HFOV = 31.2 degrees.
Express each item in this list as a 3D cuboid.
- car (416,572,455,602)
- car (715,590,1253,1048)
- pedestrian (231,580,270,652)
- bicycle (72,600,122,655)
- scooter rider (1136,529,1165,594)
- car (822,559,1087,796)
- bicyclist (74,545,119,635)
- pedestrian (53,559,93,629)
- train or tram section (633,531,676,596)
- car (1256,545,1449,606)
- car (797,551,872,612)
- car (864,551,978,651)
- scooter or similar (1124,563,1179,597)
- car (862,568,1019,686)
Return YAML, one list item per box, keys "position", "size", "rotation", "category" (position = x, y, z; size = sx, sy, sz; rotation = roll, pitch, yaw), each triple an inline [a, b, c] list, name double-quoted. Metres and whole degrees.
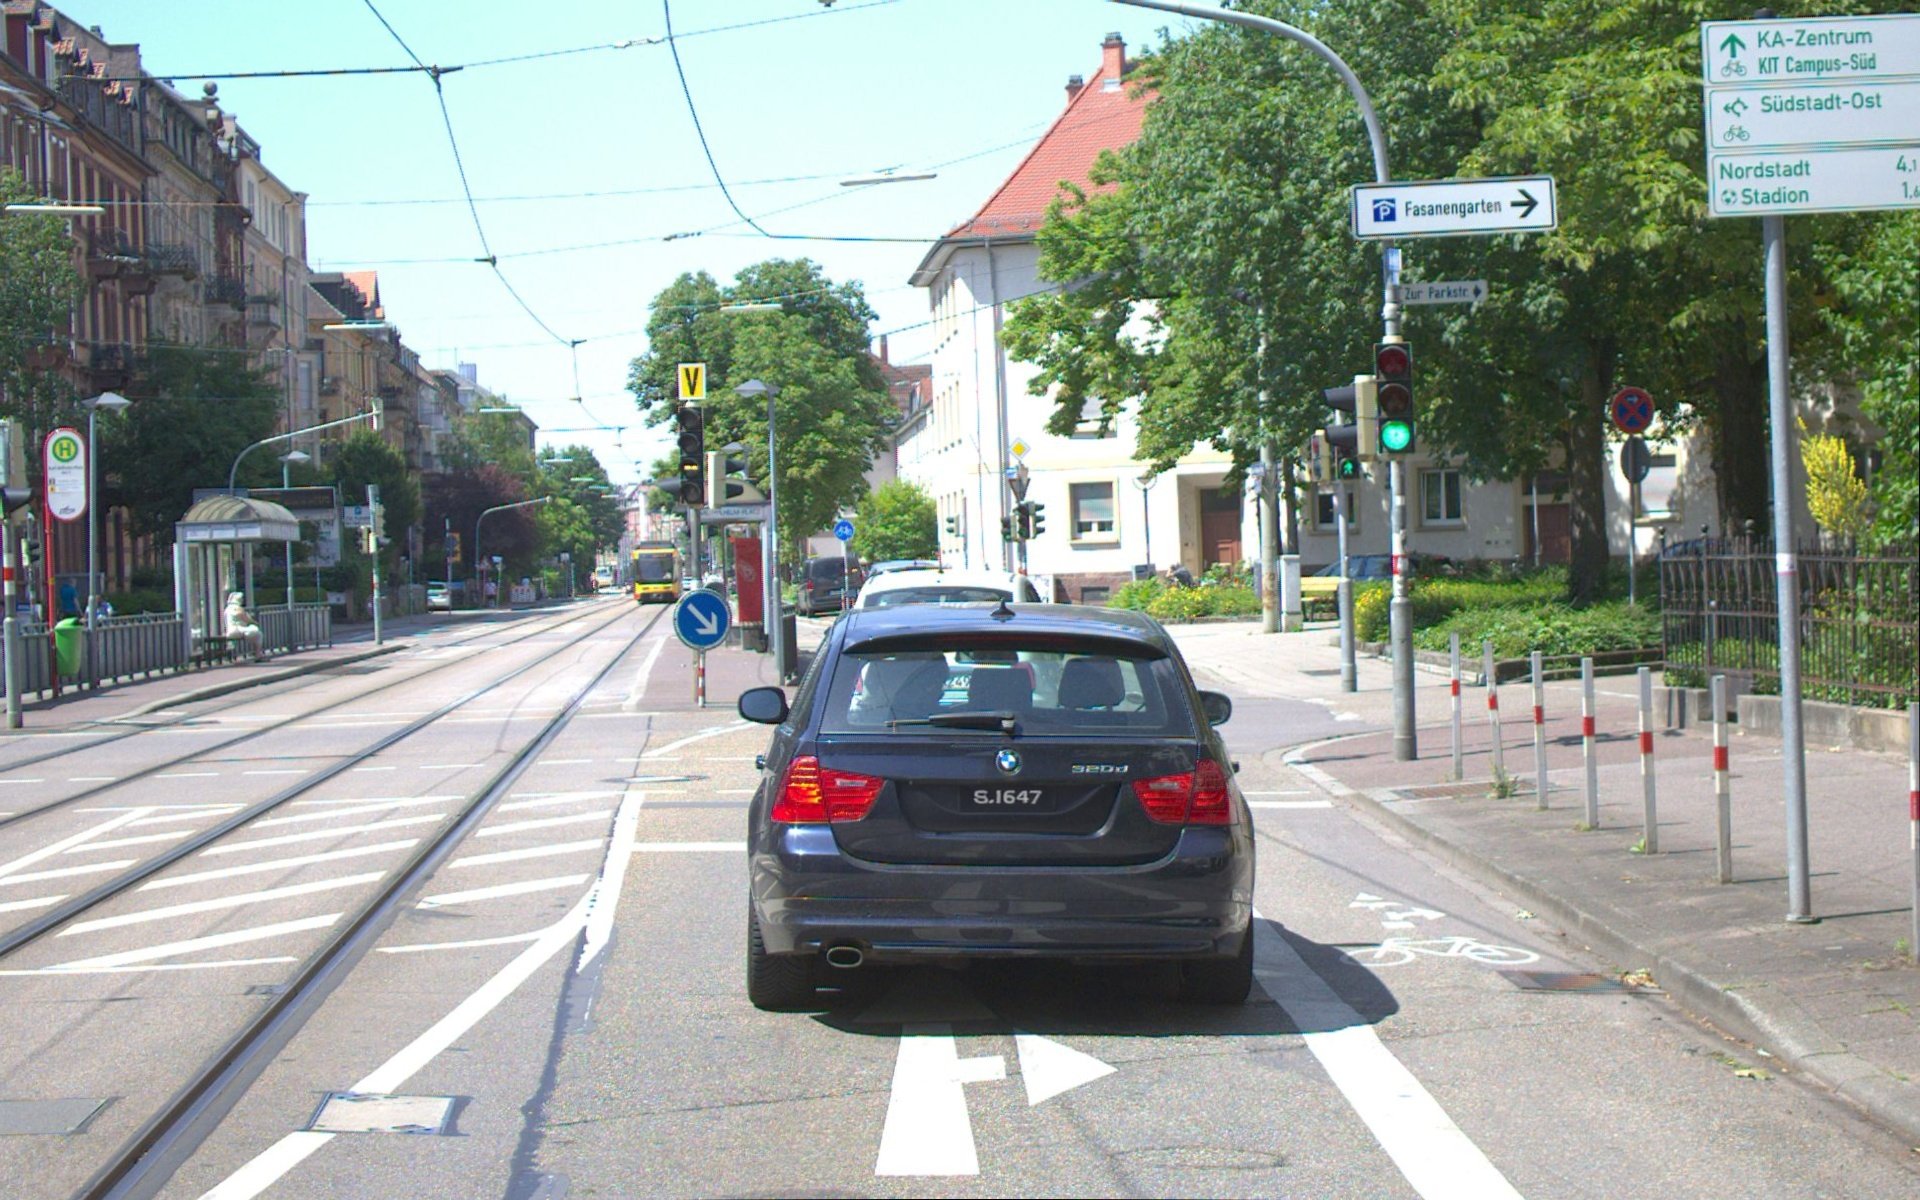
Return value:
- position: [-28.095, -0.715, 184.105]
  size: [1.787, 1.580, 4.001]
  rotation: [0, 0, -13]
  category: "car"
- position: [0.114, 0.696, 13.332]
  size: [1.722, 1.404, 4.565]
  rotation: [0, 1, 1]
  category: "car"
- position: [-12.435, 0.280, 60.239]
  size: [0.613, 1.238, 0.628]
  rotation: [-2, 1, -10]
  category: "pedestrian"
- position: [-18.098, 0.561, 72.136]
  size: [0.728, 1.098, 1.716]
  rotation: [-2, 1, -6]
  category: "bicycle"
- position: [4.964, -1.012, 89.720]
  size: [0.590, 1.681, 0.528]
  rotation: [-2, 1, -9]
  category: "scooter rider"
- position: [-0.044, 0.485, 24.395]
  size: [1.685, 1.479, 3.685]
  rotation: [-2, 1, 0]
  category: "car"
- position: [-18.080, -0.217, 72.007]
  size: [0.722, 1.864, 0.825]
  rotation: [-2, 1, -4]
  category: "bicyclist"
- position: [-23.419, -0.159, 90.782]
  size: [0.640, 1.805, 0.739]
  rotation: [-1, 1, 30]
  category: "pedestrian"
- position: [-17.146, -2.069, 193.285]
  size: [2.190, 3.470, 8.847]
  rotation: [-2, 1, -4]
  category: "train or tram section"
- position: [8.855, -0.550, 77.598]
  size: [3.994, 1.239, 1.621]
  rotation: [-1, 1, 31]
  category: "car"
- position: [-4.074, -0.612, 110.912]
  size: [1.993, 1.842, 4.001]
  rotation: [-2, 1, -8]
  category: "car"
- position: [-0.664, -0.005, 55.768]
  size: [1.691, 1.508, 3.822]
  rotation: [-2, 1, -2]
  category: "car"
- position: [4.992, -0.516, 89.712]
  size: [1.311, 0.834, 0.527]
  rotation: [-2, 1, -9]
  category: "scooter or similar"
- position: [-0.282, 0.295, 42.017]
  size: [1.691, 1.318, 3.822]
  rotation: [-2, 1, -3]
  category: "car"
